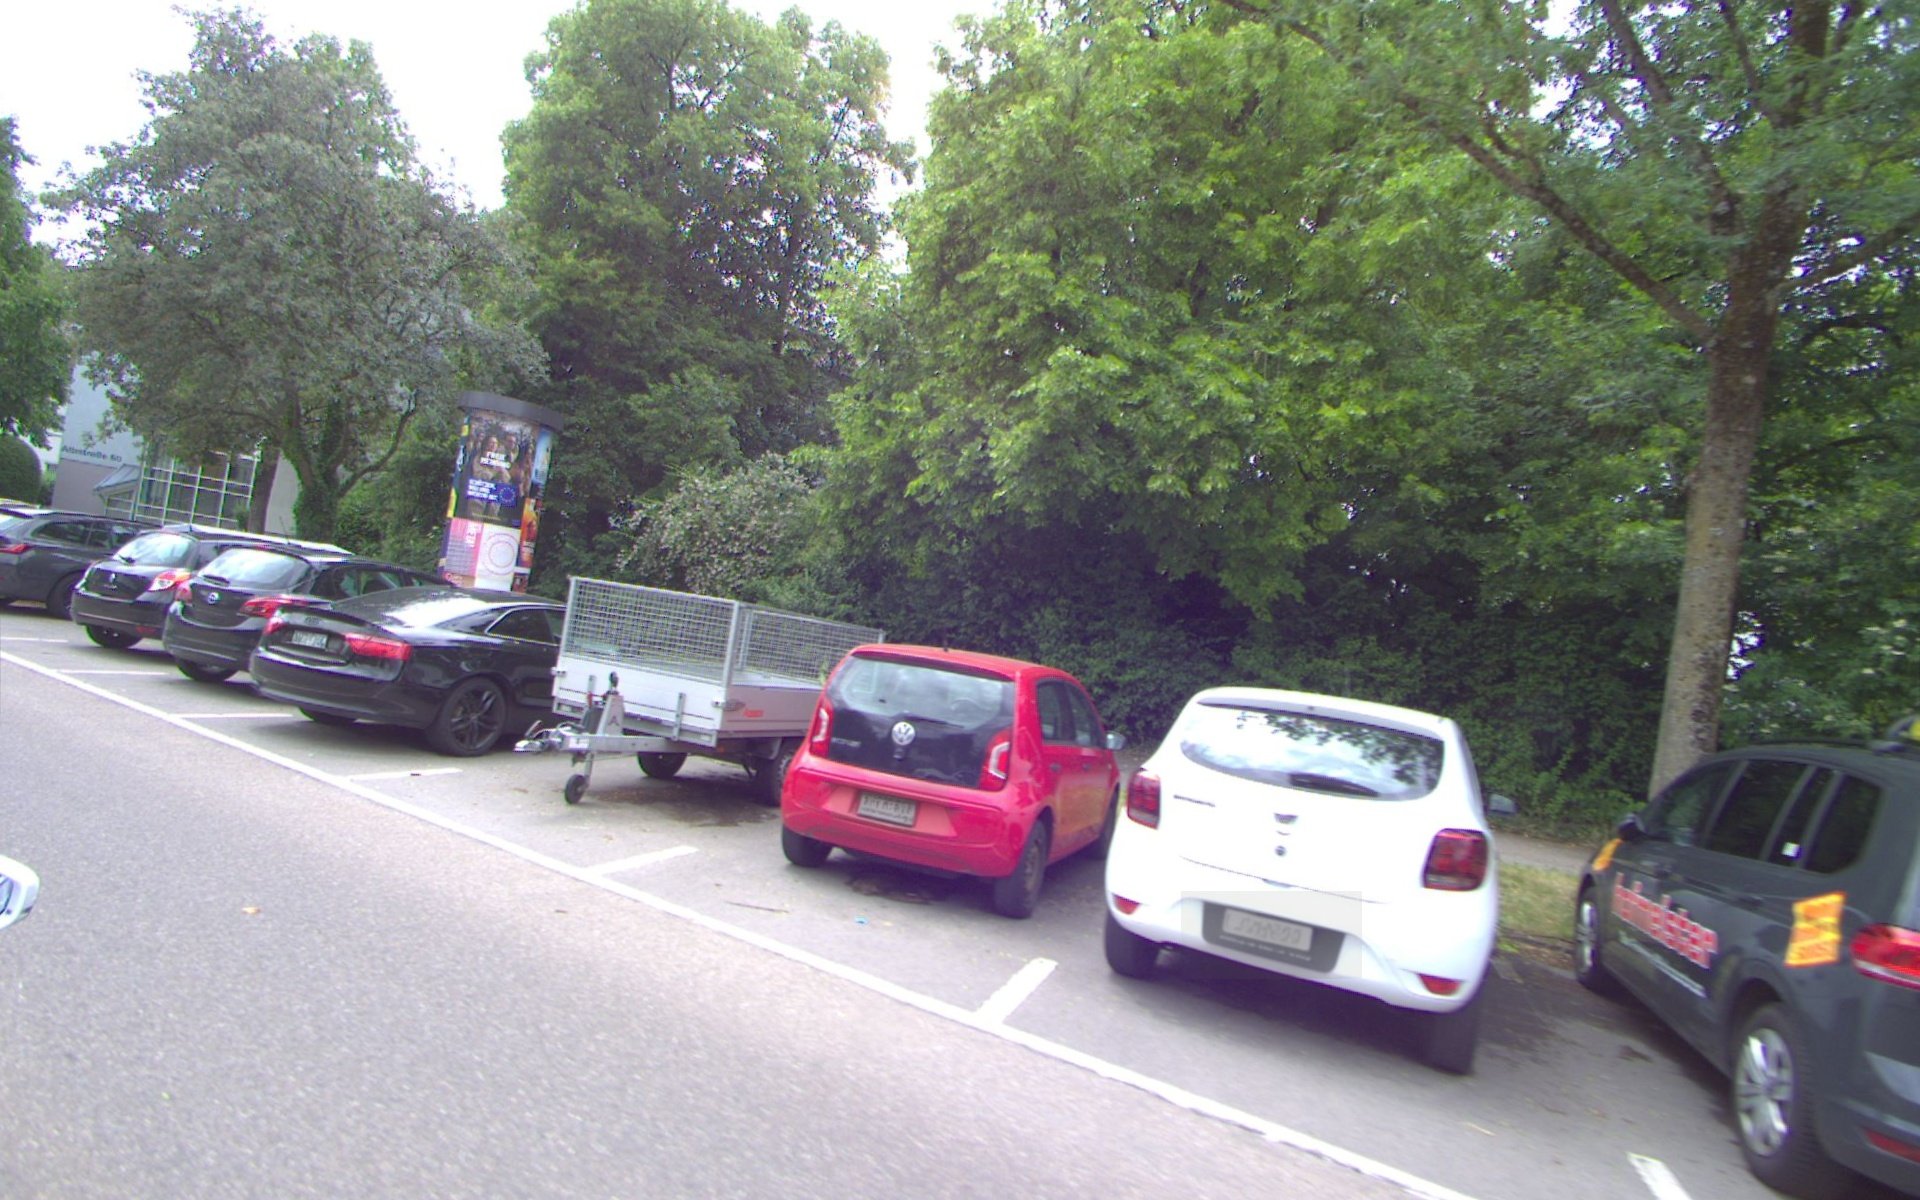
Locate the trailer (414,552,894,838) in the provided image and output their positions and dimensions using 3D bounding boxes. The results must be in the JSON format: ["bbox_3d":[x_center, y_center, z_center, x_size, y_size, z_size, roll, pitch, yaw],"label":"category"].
[{"bbox_3d":[-2.102,0.751,8.066,1.615,1.551,3.706,8,-3,20],"label":"trailer"}]

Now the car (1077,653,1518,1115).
[{"bbox_3d":[2.173,1.301,5.867,1.578,1.546,3.834,7,-3,27],"label":"car"}]

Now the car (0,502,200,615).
[{"bbox_3d":[-14.838,-0.730,16.324,1.603,1.461,3.628,8,-3,16],"label":"car"}]

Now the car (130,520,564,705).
[{"bbox_3d":[-6.459,0.272,11.194,1.587,1.503,3.931,8,-3,16],"label":"car"}]

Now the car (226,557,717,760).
[{"bbox_3d":[-4.200,0.618,9.454,1.531,1.342,4.054,7,-3,22],"label":"car"}]

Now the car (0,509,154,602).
[{"bbox_3d":[-17.043,-0.952,17.544,1.701,1.355,4.333,7,-3,18],"label":"car"}]

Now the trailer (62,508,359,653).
[{"bbox_3d":[-10.390,-0.187,14.188,1.279,1.559,3.000,8,-2,19],"label":"trailer"}]

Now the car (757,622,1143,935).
[{"bbox_3d":[0.197,1.106,7.171,1.530,1.461,3.440,7,-3,19],"label":"car"}]

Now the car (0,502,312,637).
[{"bbox_3d":[-12.296,-0.413,14.914,1.603,1.461,4.365,8,-3,17],"label":"car"}]

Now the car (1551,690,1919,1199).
[{"bbox_3d":[4.134,1.419,4.513,1.649,1.744,4.004,7,-3,20],"label":"car"}]

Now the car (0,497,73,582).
[{"bbox_3d":[-19.545,-1.385,18.864,1.700,1.532,4.091,8,-2,9],"label":"car"}]

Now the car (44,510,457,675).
[{"bbox_3d":[-8.514,0.035,12.530,1.603,1.471,3.858,8,-3,20],"label":"car"}]
